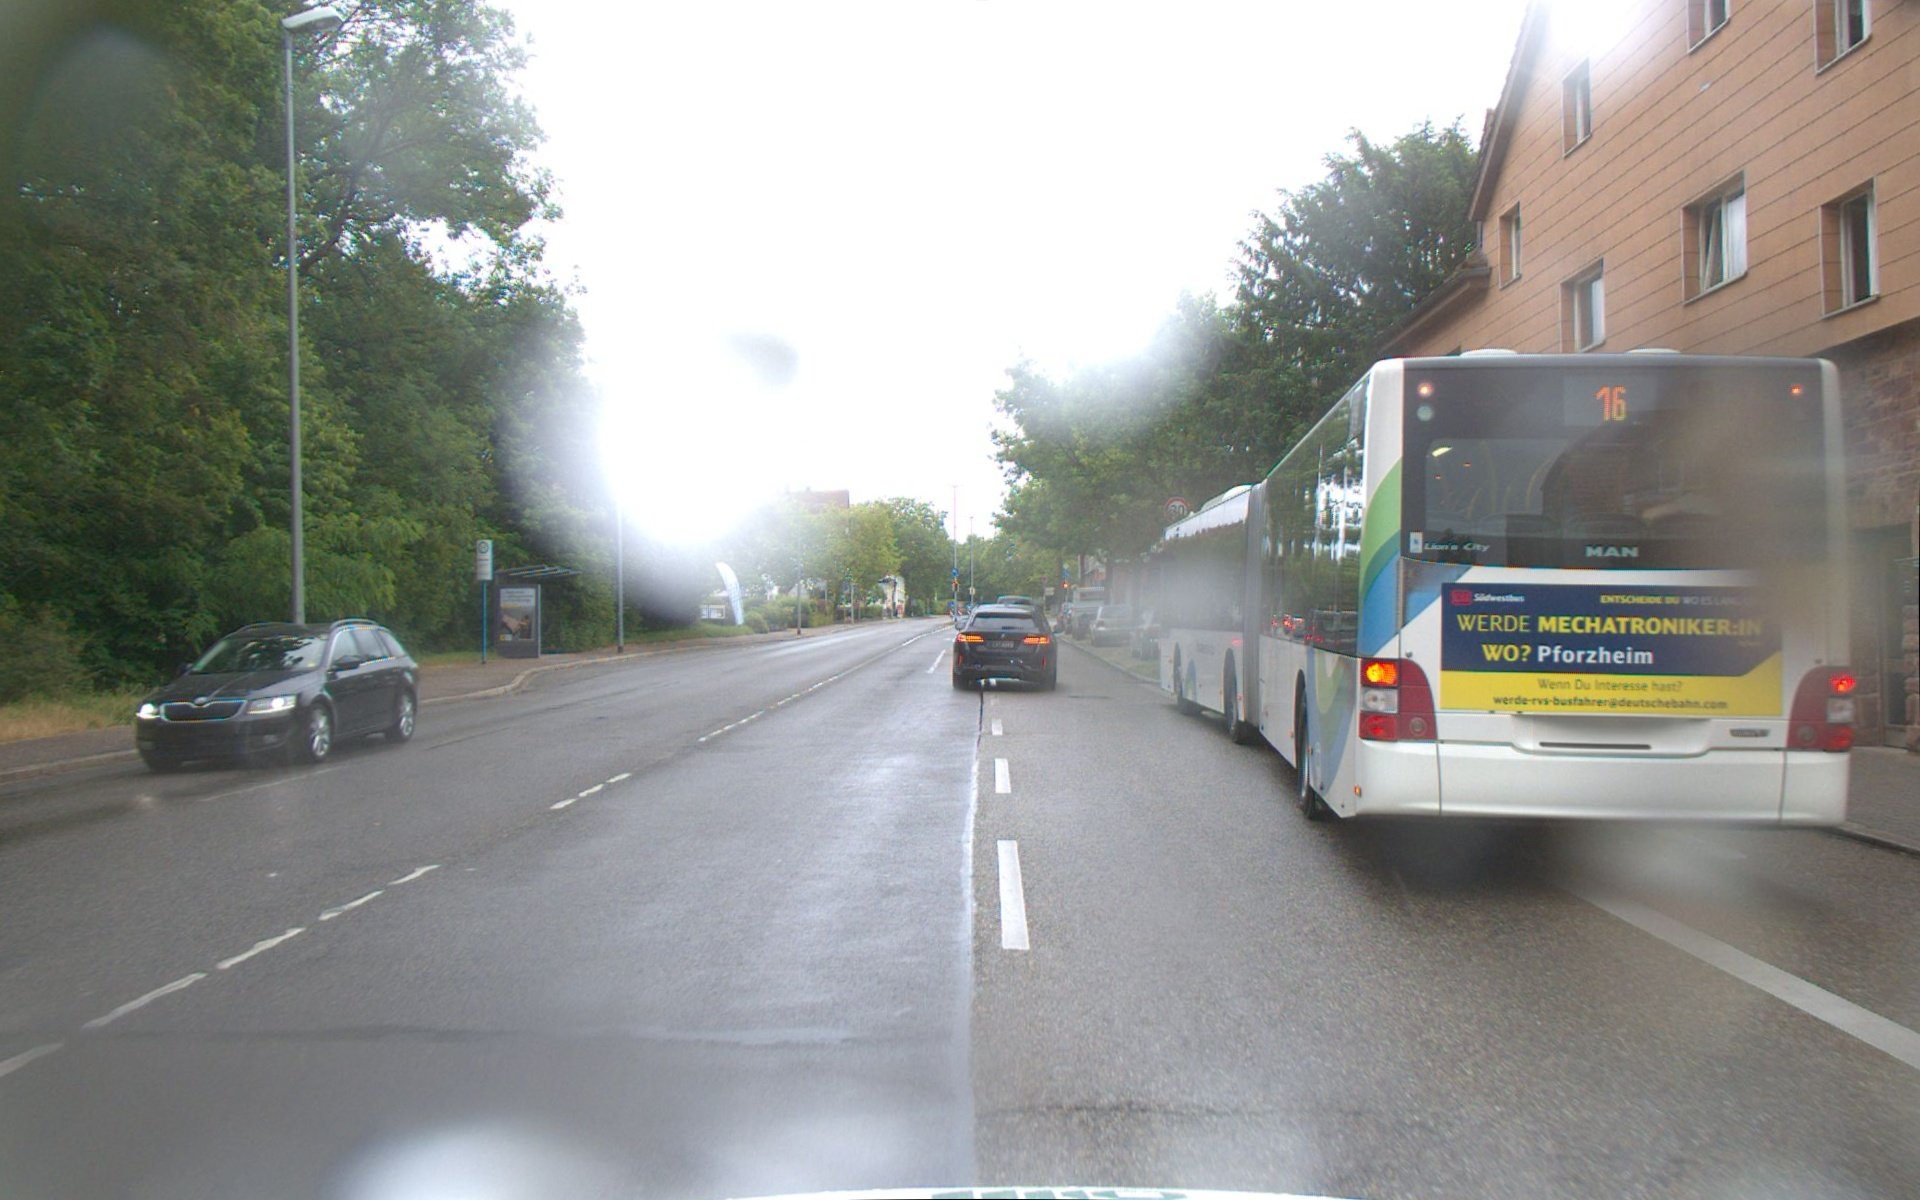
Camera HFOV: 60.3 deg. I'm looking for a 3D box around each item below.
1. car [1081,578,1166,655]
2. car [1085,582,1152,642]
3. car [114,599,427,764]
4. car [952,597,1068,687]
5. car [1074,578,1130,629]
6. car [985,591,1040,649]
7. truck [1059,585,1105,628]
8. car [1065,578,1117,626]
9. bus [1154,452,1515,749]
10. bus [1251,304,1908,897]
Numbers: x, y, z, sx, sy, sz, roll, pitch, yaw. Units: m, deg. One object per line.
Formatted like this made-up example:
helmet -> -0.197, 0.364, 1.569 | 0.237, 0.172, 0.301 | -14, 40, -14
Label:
car -> 4.504, 0.414, 46.139 | 1.953, 2.049, 4.000 | 0, 1, 0
car -> 5.612, 0.382, 58.964 | 1.953, 2.049, 4.000 | 0, 1, 0
car -> -7.350, 0.790, 18.081 | 1.734, 1.560, 4.000 | -1, 0, 0
car -> 0.921, 0.732, 30.877 | 1.952, 1.478, 4.001 | 3, 0, 1
car -> 5.891, 0.125, 68.900 | 1.953, 2.049, 4.000 | 0, 1, 0
car -> 1.939, 0.714, 61.508 | 1.952, 2.049, 4.000 | 1, 0, 1
truck -> 5.968, 0.293, 81.382 | 1.953, 2.049, 4.000 | 0, 1, 0
car -> 5.787, 0.069, 73.399 | 1.953, 2.049, 4.000 | 0, 1, 0
bus -> 4.281, -0.007, 21.264 | 2.569, 2.897, 9.796 | -1, 0, 1
bus -> 3.771, 0.006, 12.324 | 2.567, 2.897, 8.294 | -1, 0, 6
